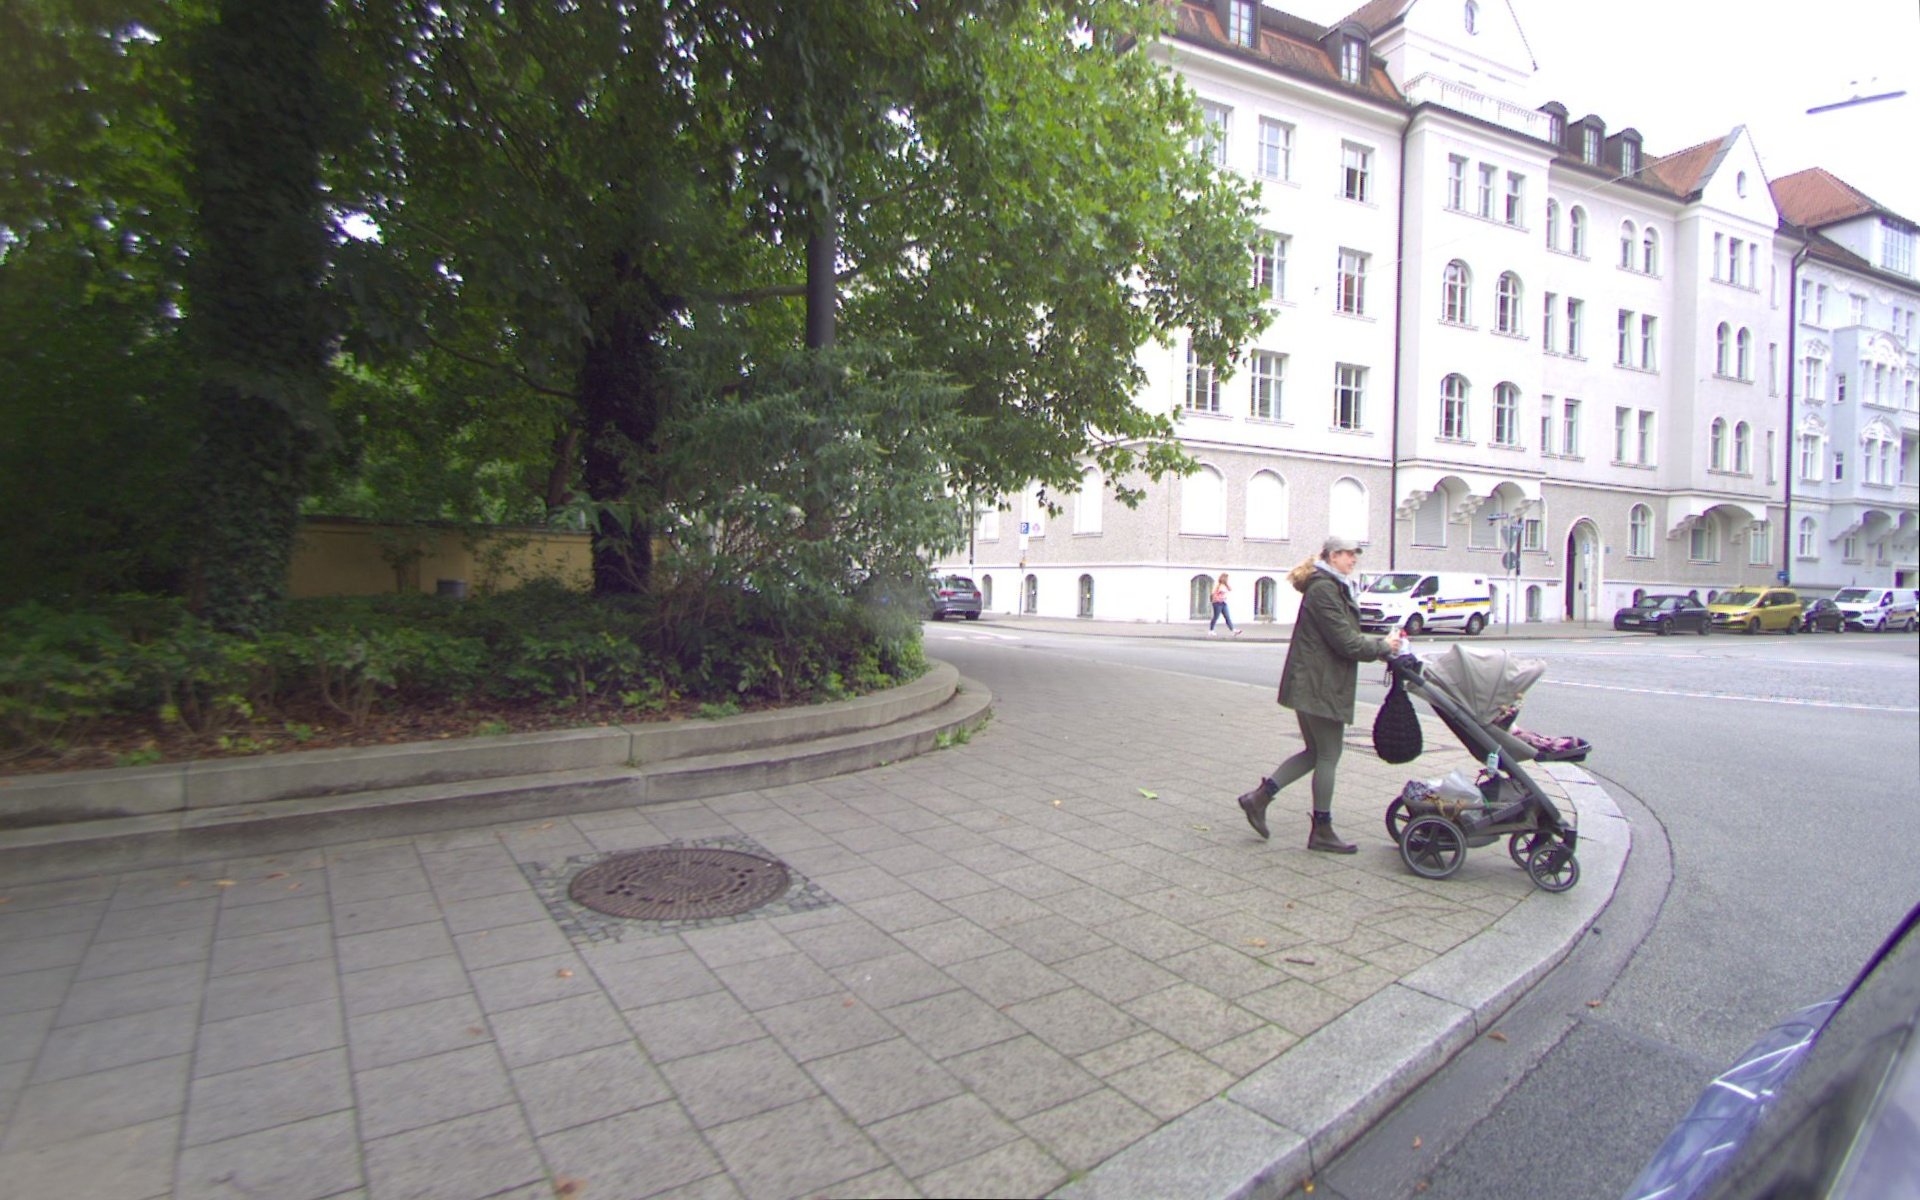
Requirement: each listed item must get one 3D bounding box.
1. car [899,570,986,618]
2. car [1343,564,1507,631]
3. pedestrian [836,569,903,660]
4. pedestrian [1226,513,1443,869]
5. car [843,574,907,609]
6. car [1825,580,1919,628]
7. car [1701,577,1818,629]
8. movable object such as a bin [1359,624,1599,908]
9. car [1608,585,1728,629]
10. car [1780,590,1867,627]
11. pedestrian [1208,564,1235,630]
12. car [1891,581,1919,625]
[{"bbox_3d":[-0.709,-0.260,36.939,1.702,1.602,4.008,-1,2,-25],"label":"car"},{"bbox_3d":[14.610,-0.103,31.756,4.871,1.958,1.955,0,2,-25],"label":"car"},{"bbox_3d":[-1.235,0.188,13.787,0.730,1.192,0.579,1,1,-25],"label":"pedestrian"},{"bbox_3d":[1.913,0.399,5.173,0.857,1.638,0.587,4,4,32],"label":"pedestrian"},{"bbox_3d":[-3.721,-0.399,43.848,1.666,1.348,3.304,-1,3,-26],"label":"car"},{"bbox_3d":[40.316,0.134,44.242,4.675,1.936,2.163,-1,3,-27],"label":"car"},{"bbox_3d":[30.936,0.079,39.153,4.215,1.841,1.800,-1,3,-25],"label":"car"},{"bbox_3d":[2.483,0.721,4.851,0.894,1.097,0.769,4,4,31],"label":"movable object such as a bin"},{"bbox_3d":[25.930,0.214,37.069,3.741,1.437,1.955,-1,3,-25],"label":"car"},{"bbox_3d":[35.428,0.317,41.521,3.289,1.375,1.445,-1,3,-25],"label":"car"},{"bbox_3d":[7.132,-0.080,27.608,0.558,1.790,0.406,0,1,-17],"label":"pedestrian"},{"bbox_3d":[45.857,0.126,47.211,4.482,1.962,2.058,-1,3,-27],"label":"car"}]
